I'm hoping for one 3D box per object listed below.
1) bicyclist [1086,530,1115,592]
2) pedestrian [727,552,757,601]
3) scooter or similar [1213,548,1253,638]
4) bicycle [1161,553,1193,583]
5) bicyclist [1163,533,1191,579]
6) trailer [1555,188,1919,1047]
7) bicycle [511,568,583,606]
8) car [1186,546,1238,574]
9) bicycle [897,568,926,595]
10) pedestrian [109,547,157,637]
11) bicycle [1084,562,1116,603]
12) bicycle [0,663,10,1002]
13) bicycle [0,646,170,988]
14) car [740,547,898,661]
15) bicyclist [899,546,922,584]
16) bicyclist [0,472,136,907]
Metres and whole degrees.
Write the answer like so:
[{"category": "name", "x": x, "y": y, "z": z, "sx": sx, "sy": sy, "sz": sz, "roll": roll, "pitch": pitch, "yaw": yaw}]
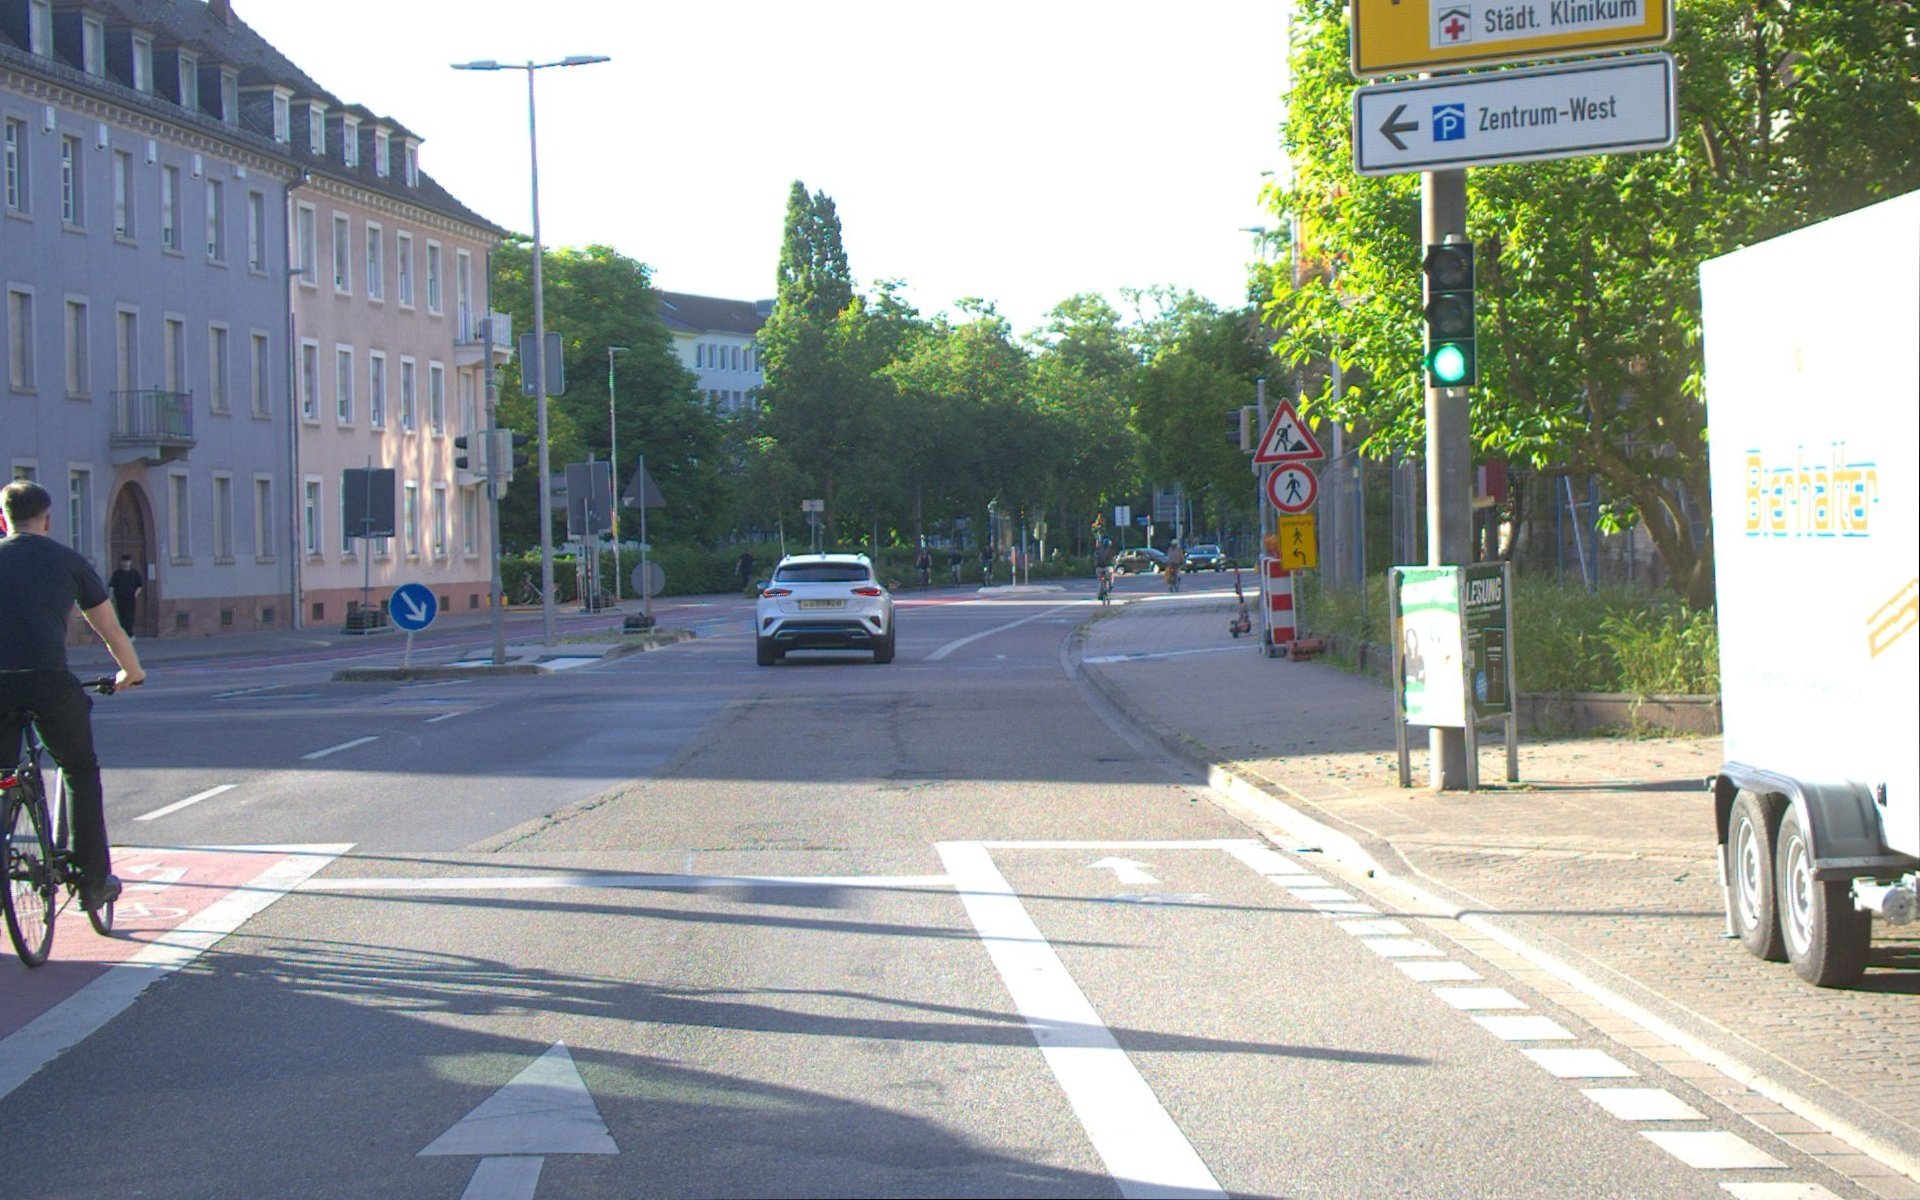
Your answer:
[{"category": "bicyclist", "x": 3.680, "y": -1.032, "z": 89.879, "sx": 0.636, "sy": 1.609, "sz": 1.283, "roll": 0, "pitch": 1, "yaw": 7}, {"category": "pedestrian", "x": -8.367, "y": -0.892, "z": 132.146, "sx": 0.856, "sy": 1.845, "sz": 1.001, "roll": -2, "pitch": 0, "yaw": 12}, {"category": "scooter or similar", "x": 4.092, "y": -0.120, "z": 51.440, "sx": 0.555, "sy": 1.304, "sz": 1.832, "roll": -1, "pitch": 1, "yaw": 5}, {"category": "bicycle", "x": 7.289, "y": -1.070, "z": 115.351, "sx": 0.753, "sy": 1.022, "sz": 1.868, "roll": 0, "pitch": 0, "yaw": 13}, {"category": "bicyclist", "x": 7.274, "y": -1.476, "z": 115.301, "sx": 0.748, "sy": 1.532, "sz": 0.969, "roll": -1, "pitch": 1, "yaw": 13}, {"category": "trailer", "x": 3.686, "y": -0.040, "z": 12.378, "sx": 2.079, "sy": 2.519, "sz": 4.492, "roll": -3, "pitch": 1, "yaw": -1}, {"category": "bicycle", "x": -13.942, "y": -0.432, "z": 116.046, "sx": 2.321, "sy": 1.225, "sz": 0.560, "roll": -1, "pitch": 1, "yaw": 13}, {"category": "car", "x": 13.375, "y": -2.127, "z": 182.141, "sx": 1.813, "sy": 1.415, "sz": 4.551, "roll": -1, "pitch": 1, "yaw": 16}, {"category": "bicycle", "x": -1.940, "y": -0.738, "z": 137.659, "sx": 0.737, "sy": 0.992, "sz": 2.108, "roll": -2, "pitch": 2, "yaw": 10}, {"category": "pedestrian", "x": -17.178, "y": -0.168, "z": 71.438, "sx": 0.631, "sy": 1.840, "sz": 1.013, "roll": 2, "pitch": 1, "yaw": 5}, {"category": "bicycle", "x": 3.665, "y": -0.460, "z": 89.793, "sx": 0.643, "sy": 1.021, "sz": 2.212, "roll": 0, "pitch": 1, "yaw": 7}, {"category": "bicycle", "x": -3.645, "y": 0.800, "z": 10.702, "sx": 0.828, "sy": 1.139, "sz": 1.970, "roll": 0, "pitch": 1, "yaw": 0}, {"category": "bicycle", "x": -3.589, "y": 0.781, "z": 13.181, "sx": 0.642, "sy": 1.151, "sz": 2.077, "roll": 0, "pitch": 1, "yaw": 0}, {"category": "car", "x": -1.907, "y": 0.031, "z": 47.619, "sx": 1.993, "sy": 1.448, "sz": 4.000, "roll": -2, "pitch": 1, "yaw": 0}, {"category": "bicyclist", "x": -1.987, "y": -1.390, "z": 137.675, "sx": 0.738, "sy": 1.480, "sz": 0.665, "roll": -3, "pitch": 0, "yaw": 11}, {"category": "bicyclist", "x": -3.603, "y": 0.331, "z": 13.131, "sx": 0.670, "sy": 1.602, "sz": 0.825, "roll": -2, "pitch": 1, "yaw": 0}]
